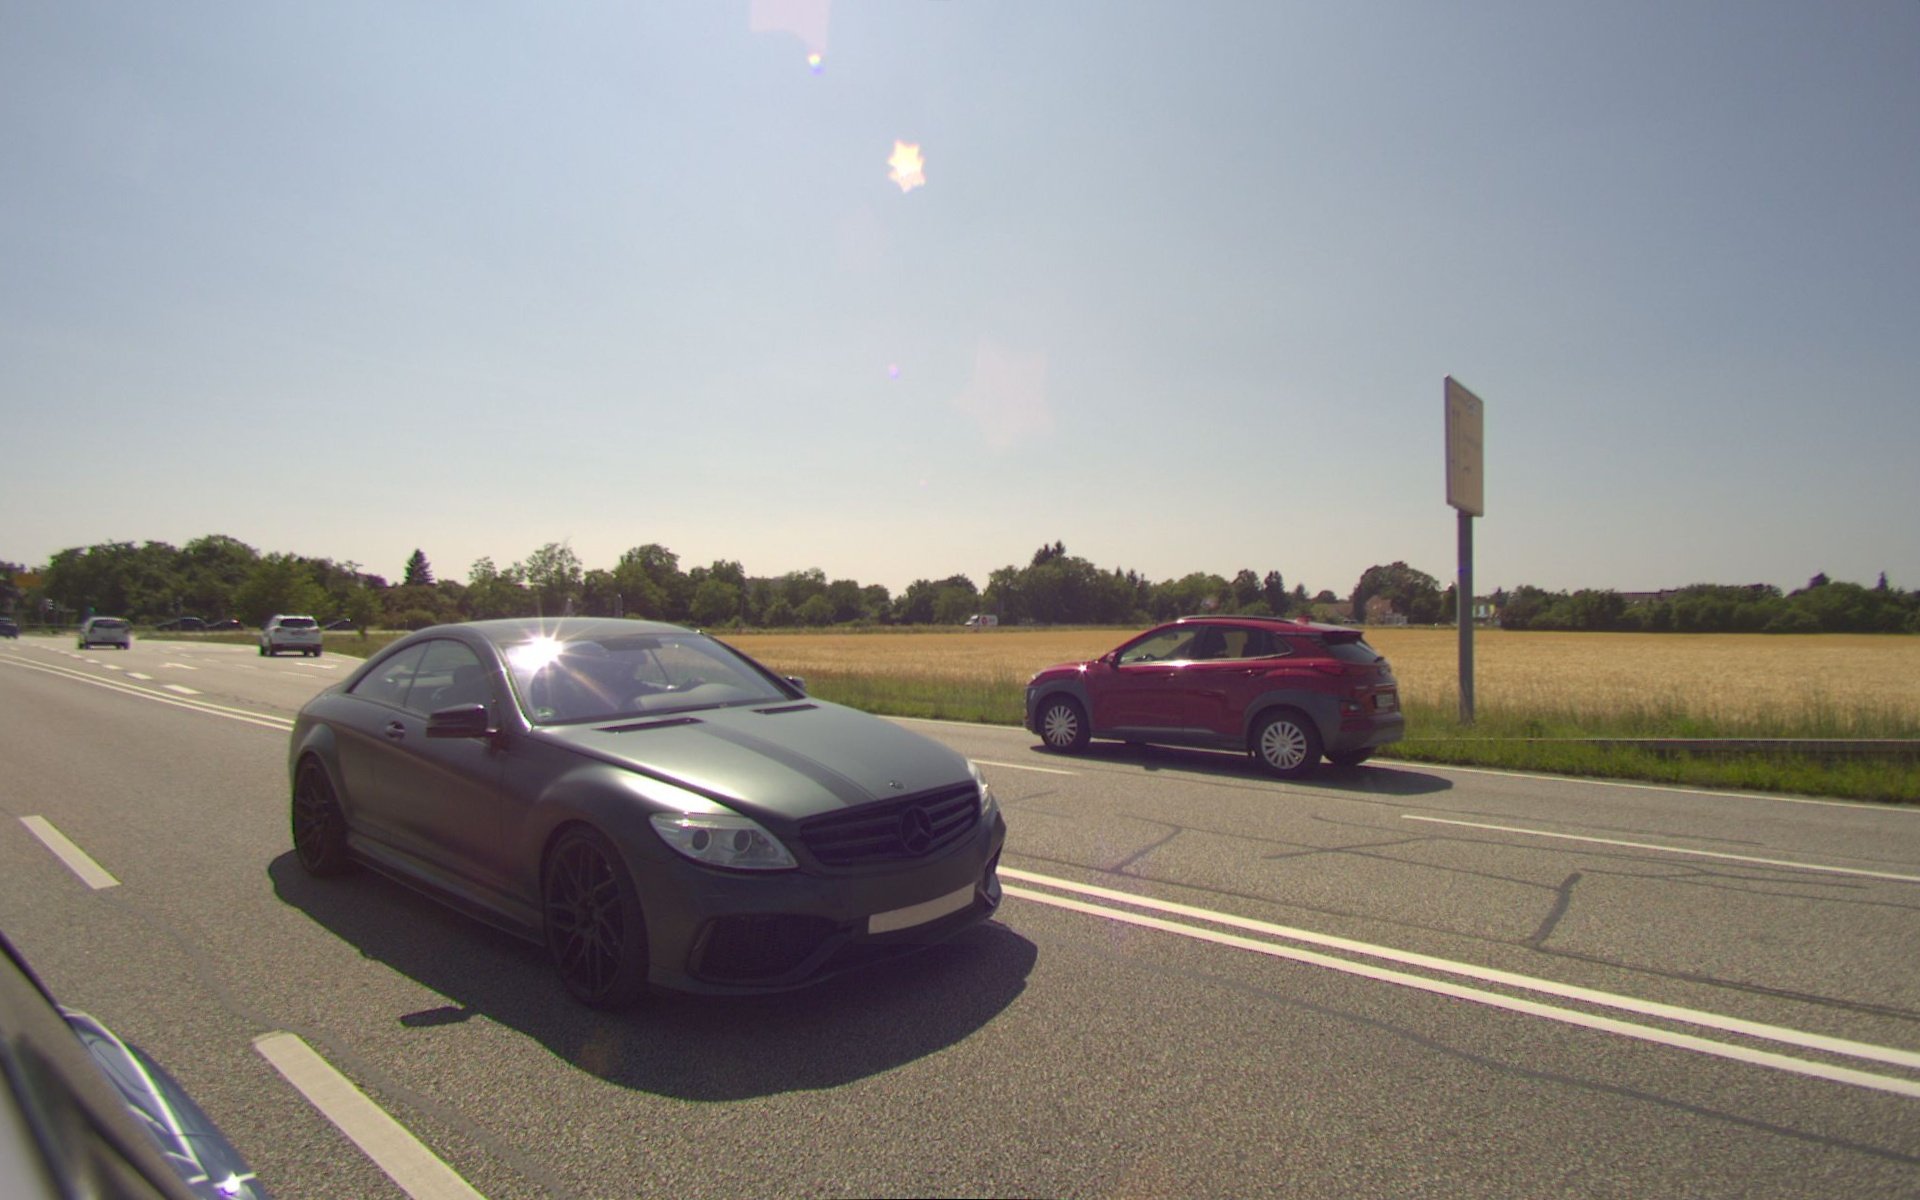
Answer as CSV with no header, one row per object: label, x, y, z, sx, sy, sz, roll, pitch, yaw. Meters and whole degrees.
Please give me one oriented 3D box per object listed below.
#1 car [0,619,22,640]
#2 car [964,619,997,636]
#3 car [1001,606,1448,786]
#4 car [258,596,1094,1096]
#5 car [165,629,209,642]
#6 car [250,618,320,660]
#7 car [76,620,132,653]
car,-69.183,2.111,73.232,4.233,1.468,1.739,-1,-3,45
car,3.736,4.998,185.652,6.284,2.931,2.003,-1,0,-42
car,2.732,0.909,11.026,4.309,1.574,1.973,-1,-3,41
car,-1.855,0.761,5.268,4.874,1.461,1.792,-1,0,41
car,-86.515,3.921,113.257,3.819,1.397,1.638,0,-2,-40
car,-28.523,1.650,42.707,1.645,1.689,4.465,3,-4,-44
car,-40.490,1.740,47.852,1.728,1.453,4.085,5,-5,-43
